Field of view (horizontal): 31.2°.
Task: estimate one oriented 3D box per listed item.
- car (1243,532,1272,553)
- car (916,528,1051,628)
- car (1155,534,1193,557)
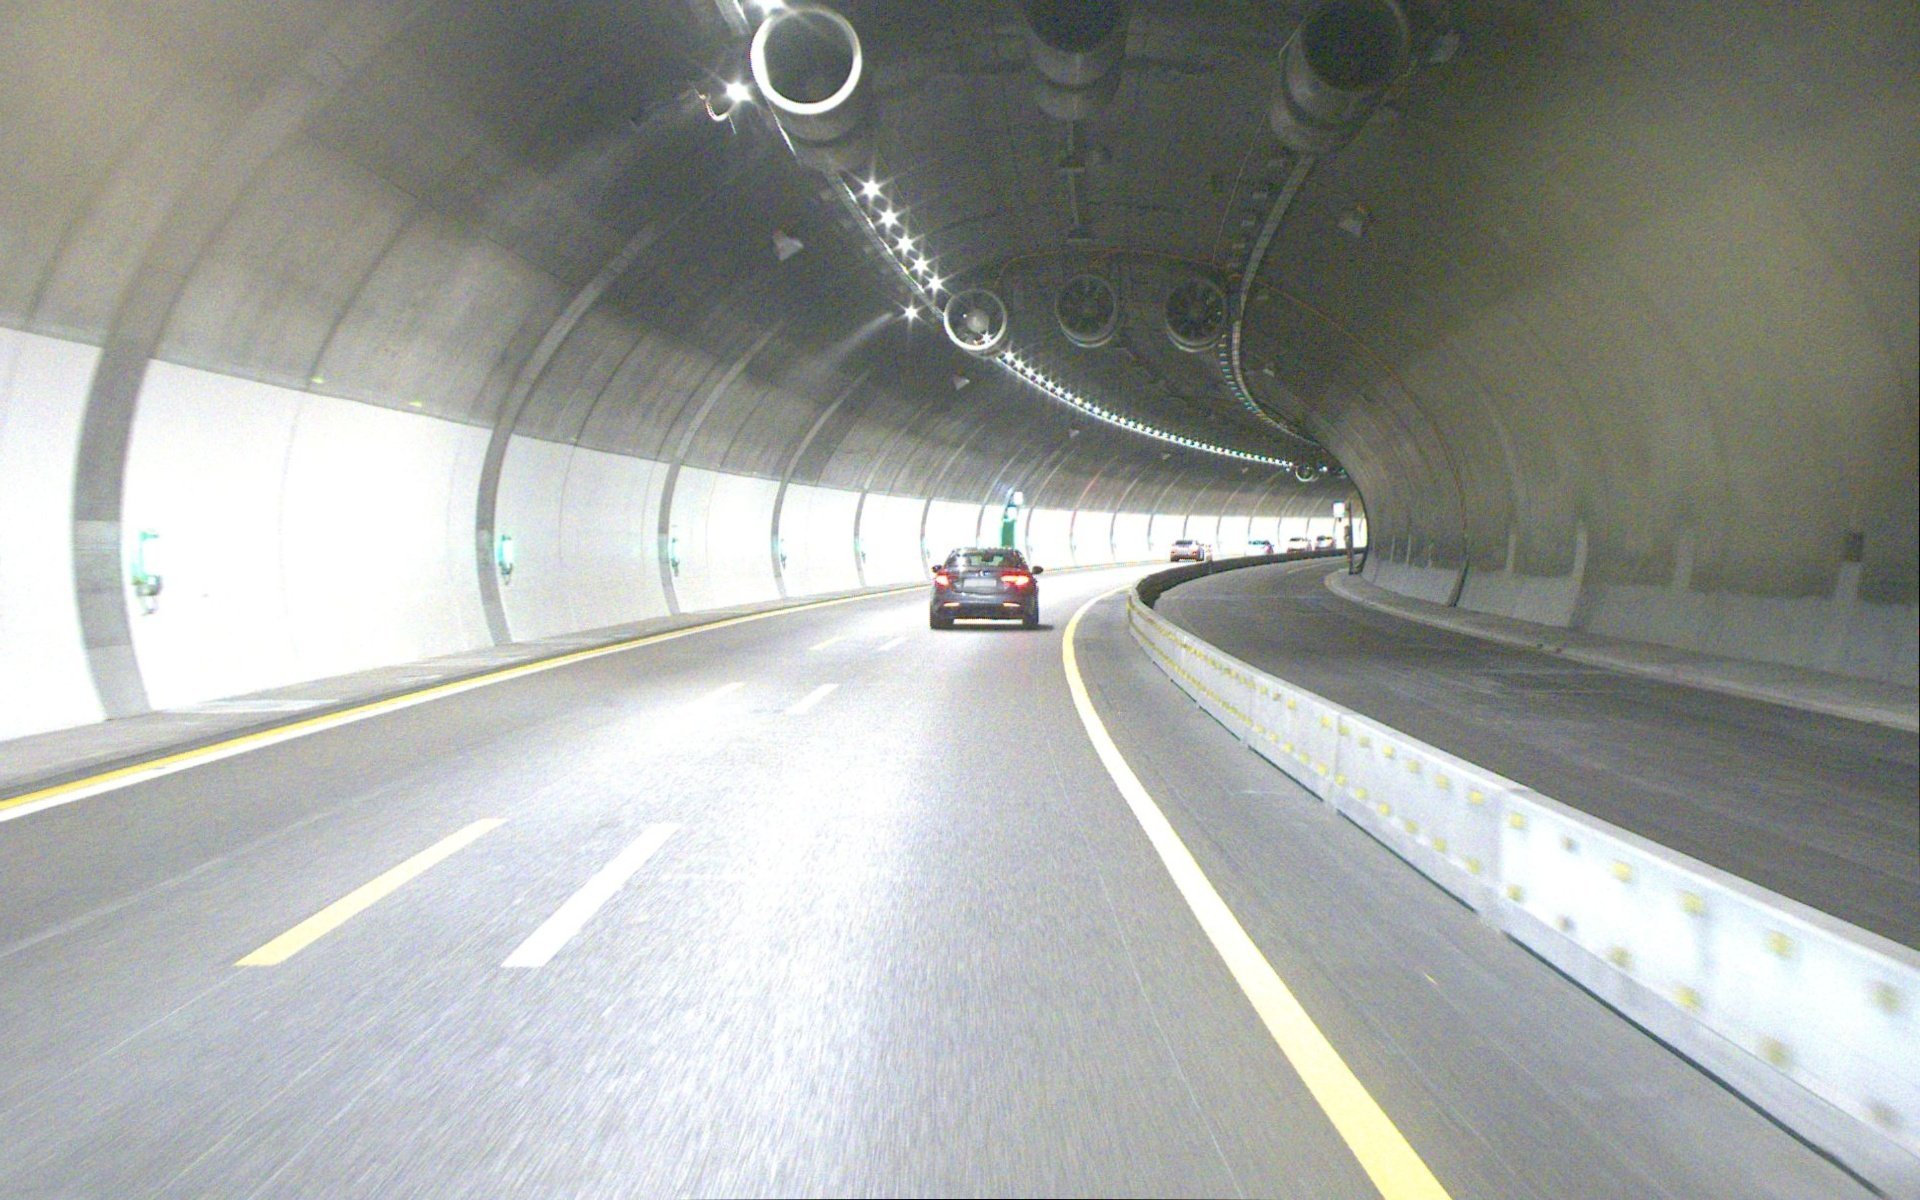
[{"bbox_3d":[20.000,-3.867,231.006,1.596,1.328,3.749,1,1,10],"label":"car"},{"bbox_3d":[0.459,-0.414,61.045,2.141,1.700,4.000,0,1,4],"label":"car"},{"bbox_3d":[13.640,-3.474,218.933,2.165,1.481,3.999,0,1,7],"label":"car"}]
